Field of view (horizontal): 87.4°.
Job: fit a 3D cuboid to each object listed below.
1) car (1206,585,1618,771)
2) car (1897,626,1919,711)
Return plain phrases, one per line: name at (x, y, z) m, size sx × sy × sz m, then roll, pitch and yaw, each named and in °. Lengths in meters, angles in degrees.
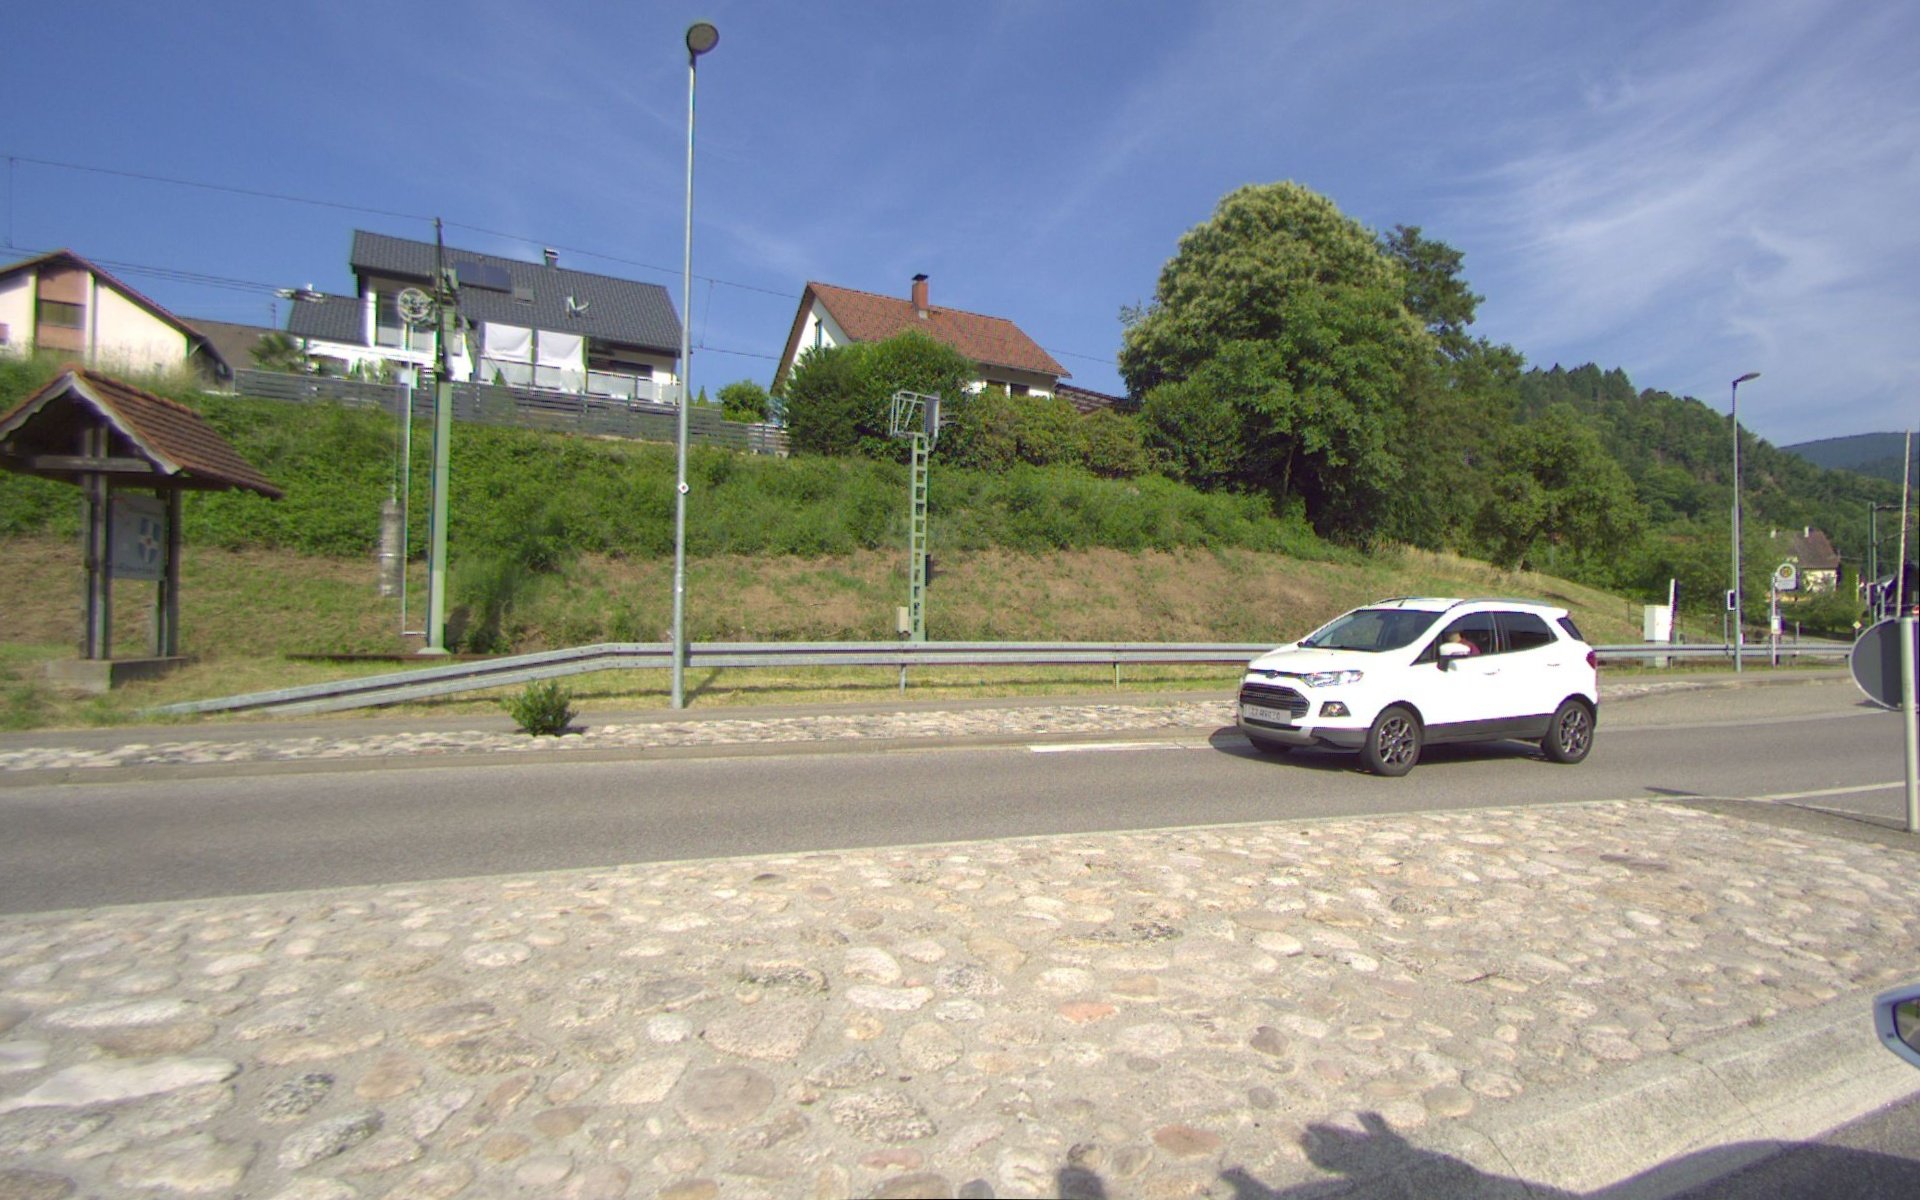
car at (4.643, 0.734, 10.261) m, size 3.949 × 1.581 × 1.757 m, roll 2°, pitch -1°, yaw -27°
car at (18.578, 1.222, 17.698) m, size 4.771 × 1.418 × 1.773 m, roll 1°, pitch 0°, yaw -31°
